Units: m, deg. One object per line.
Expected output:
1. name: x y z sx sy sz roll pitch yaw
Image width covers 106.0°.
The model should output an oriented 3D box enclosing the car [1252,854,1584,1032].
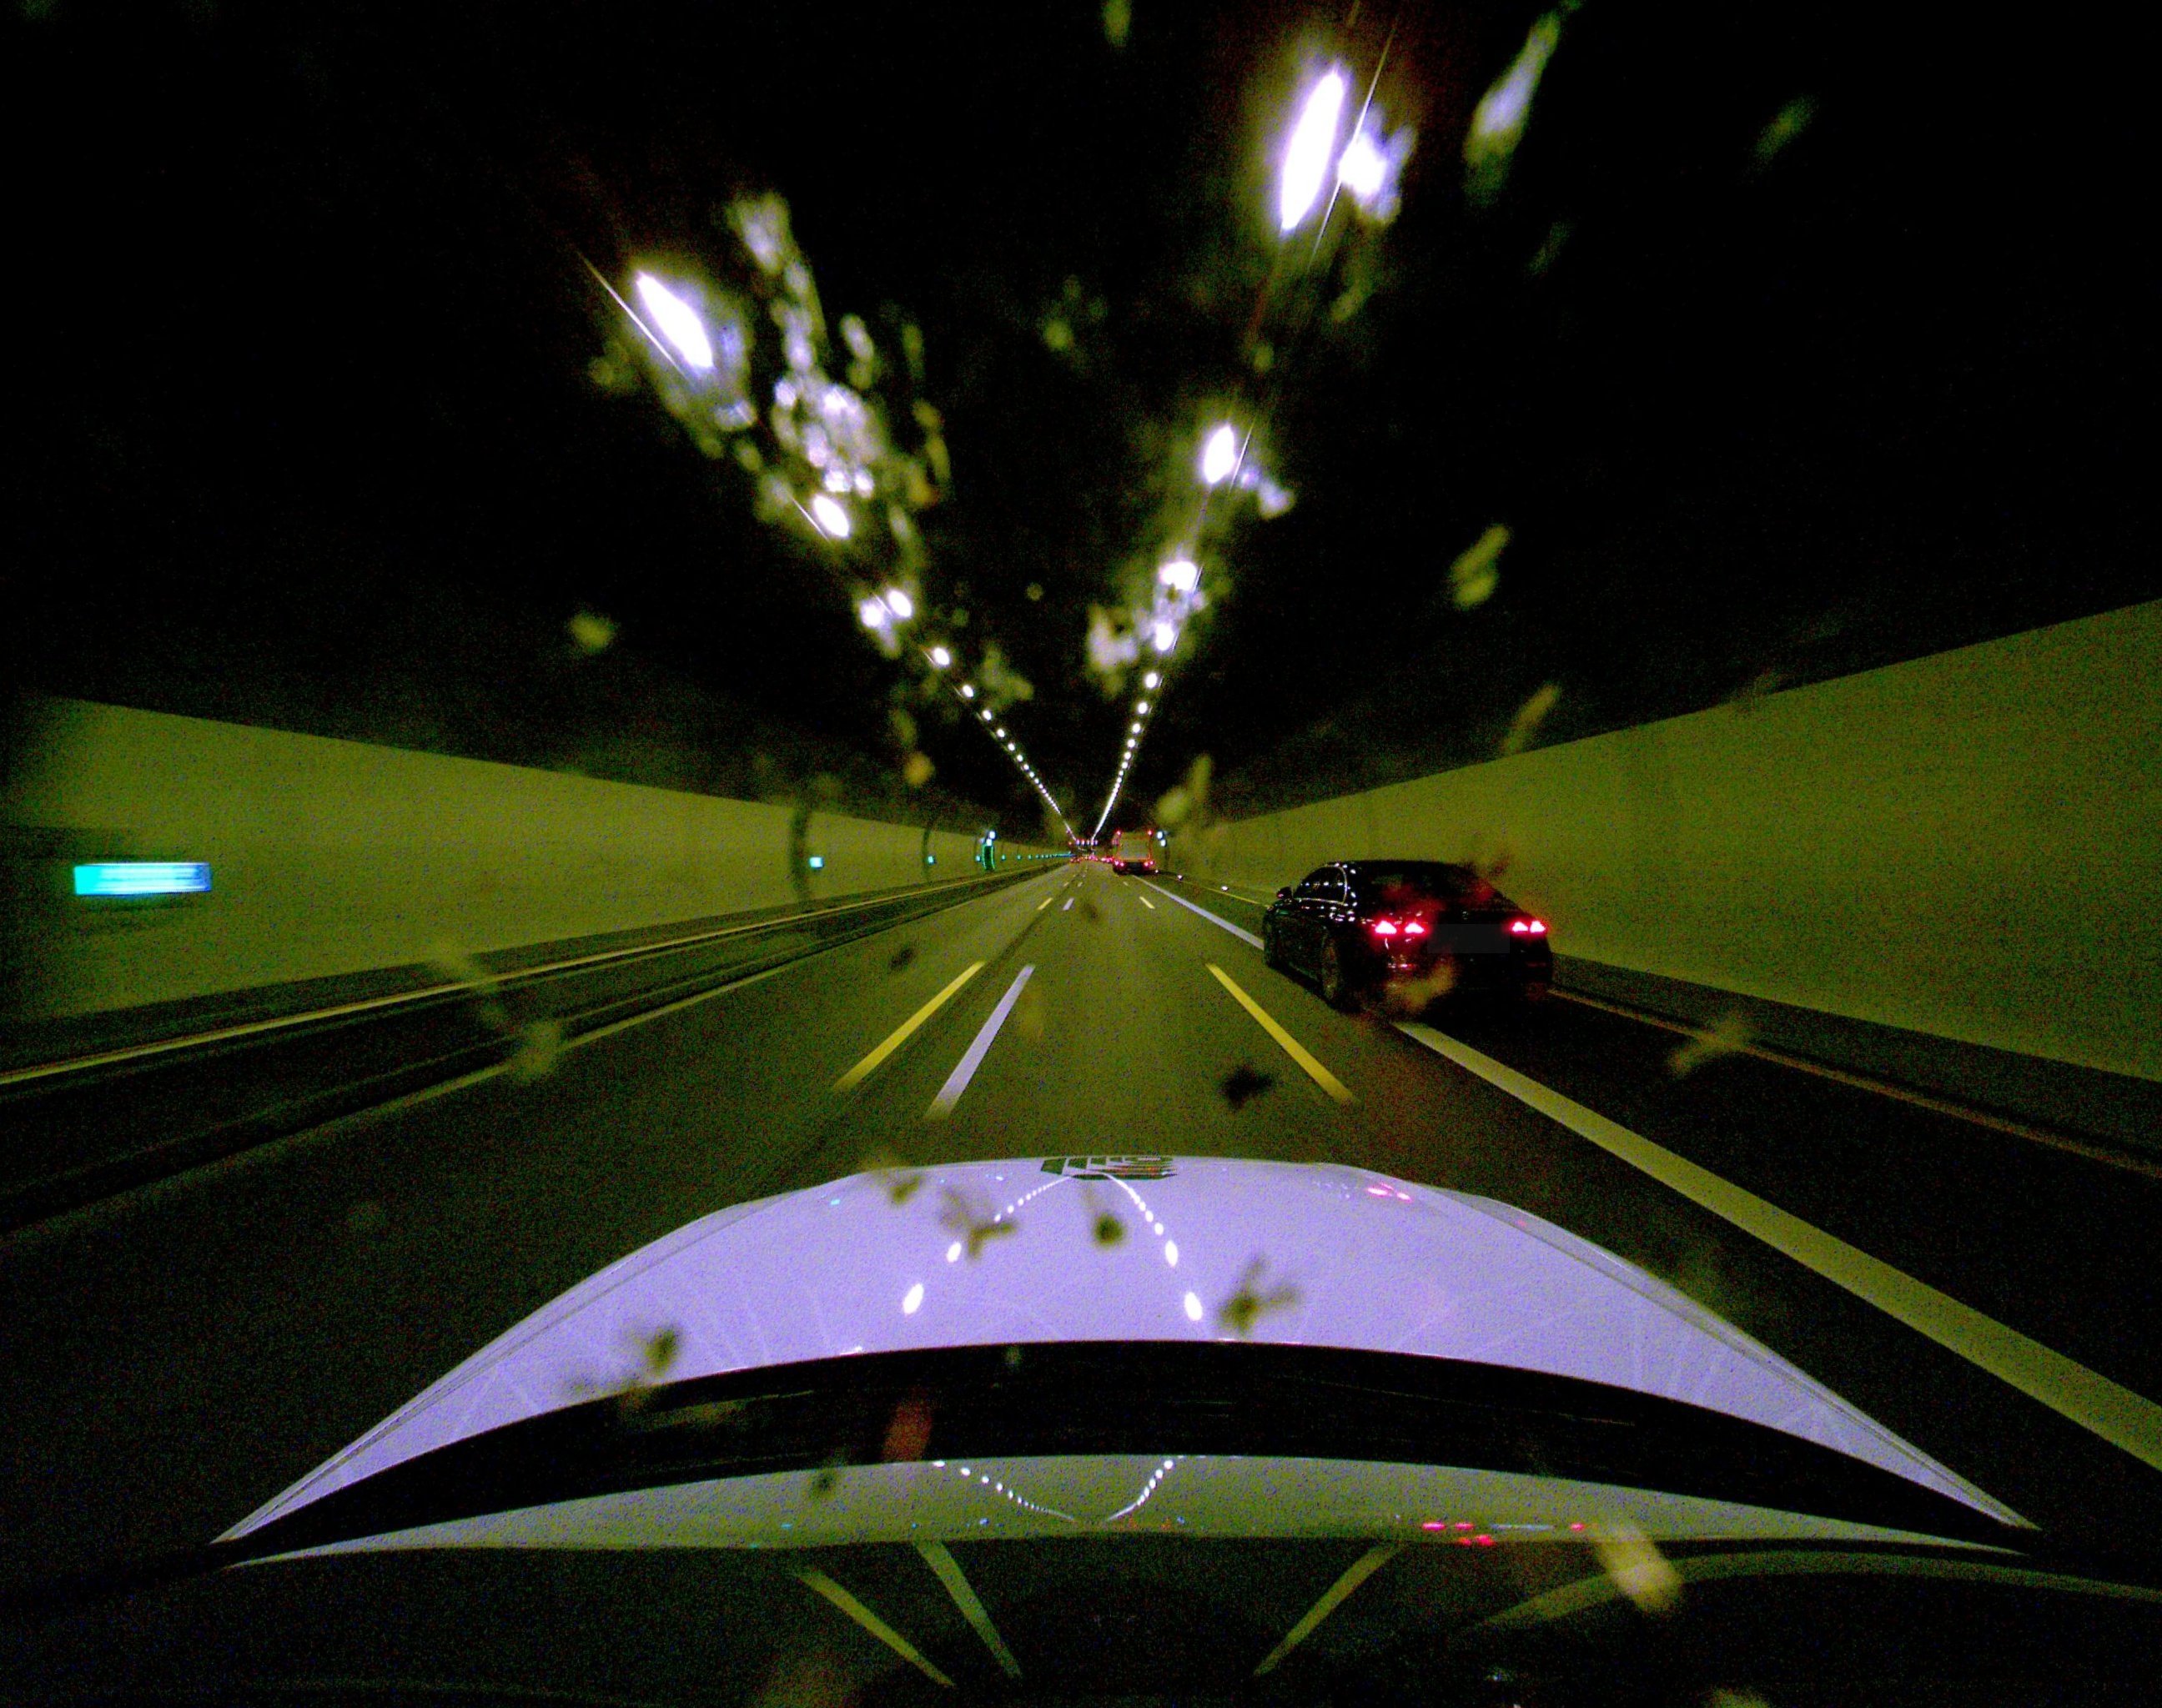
1. car: 3.378 0.769 9.382 1.918 1.472 4.956 1 0 2

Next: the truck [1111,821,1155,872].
1. truck: 4.269 -0.529 68.836 3.081 3.918 10.367 1 -1 1

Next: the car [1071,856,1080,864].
1. car: -1.065 1.068 156.781 1.752 1.461 4.119 1 0 1

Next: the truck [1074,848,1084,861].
1. truck: -0.724 0.164 265.880 3.056 3.918 10.366 1 -1 0

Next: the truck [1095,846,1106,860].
1. truck: 5.739 -0.321 237.615 3.055 3.918 10.371 1 -1 2

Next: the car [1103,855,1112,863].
1. car: 5.031 0.896 156.729 1.733 1.461 3.962 1 0 2
